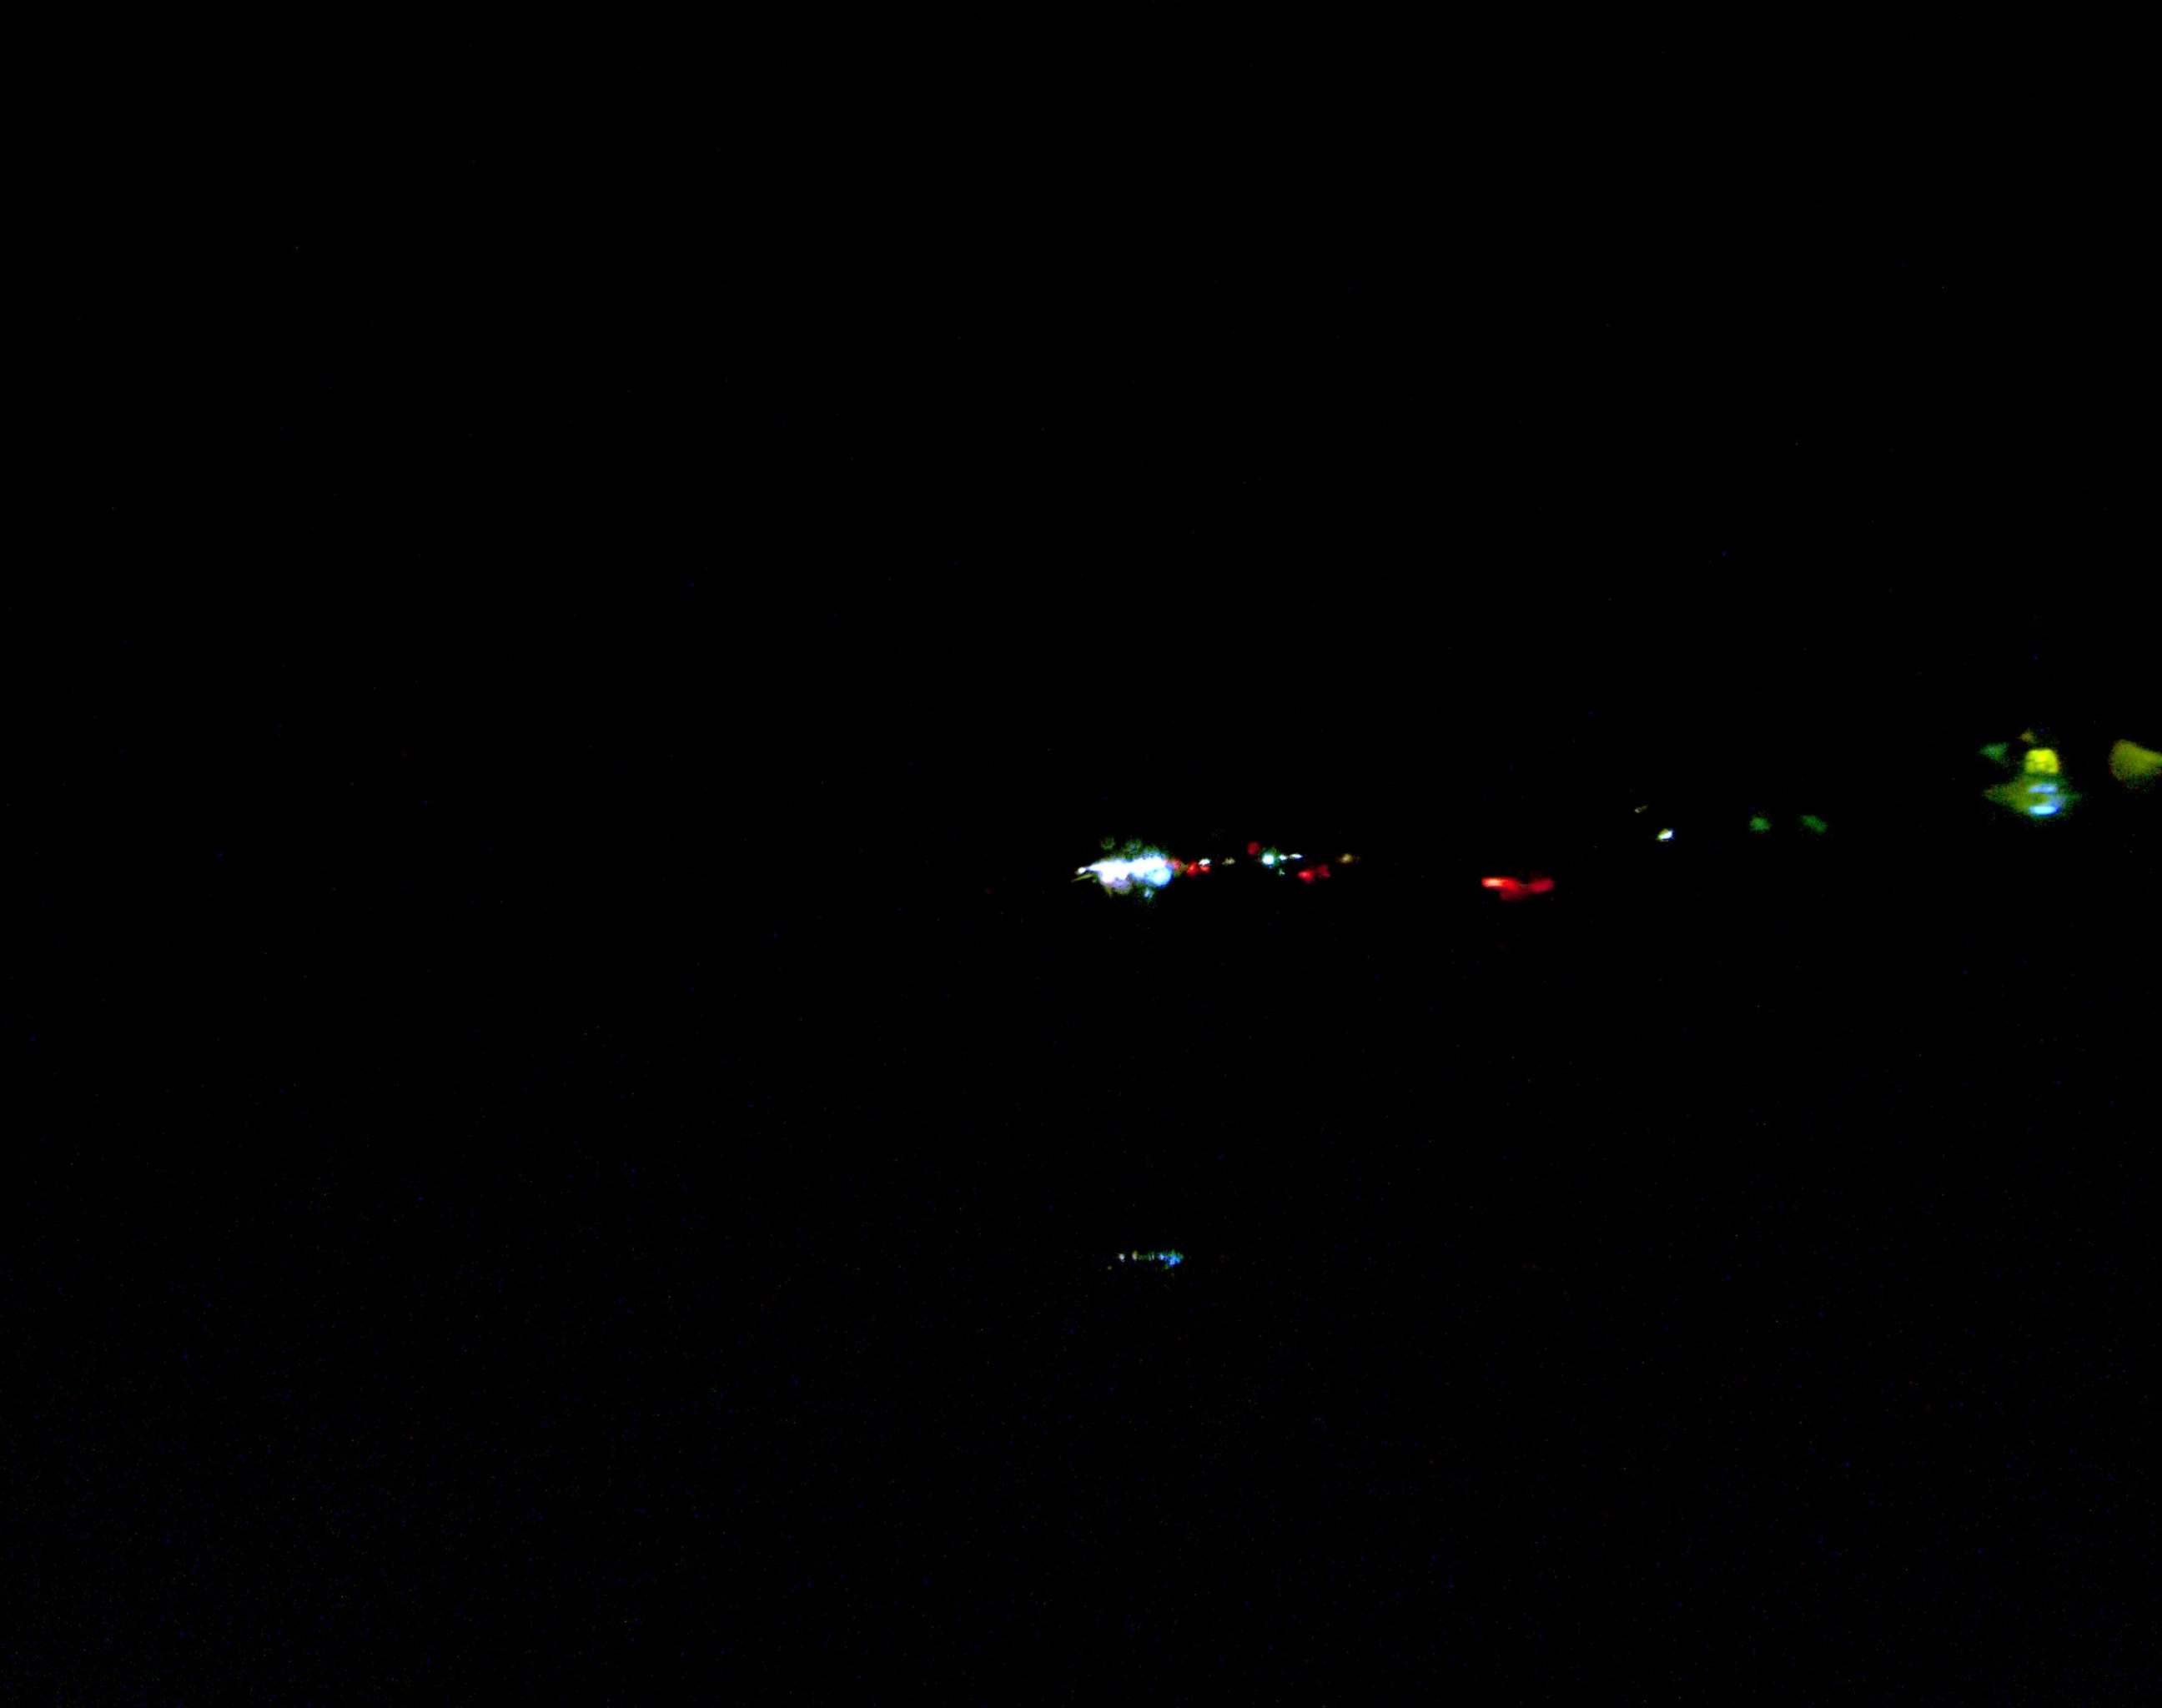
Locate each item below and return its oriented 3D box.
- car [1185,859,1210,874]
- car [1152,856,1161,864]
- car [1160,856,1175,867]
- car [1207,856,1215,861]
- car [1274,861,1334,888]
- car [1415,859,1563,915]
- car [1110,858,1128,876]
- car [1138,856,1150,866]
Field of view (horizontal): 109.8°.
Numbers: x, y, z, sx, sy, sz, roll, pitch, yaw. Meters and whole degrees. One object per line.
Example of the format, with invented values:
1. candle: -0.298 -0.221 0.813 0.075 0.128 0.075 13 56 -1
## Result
1. car: 11.529 1.216 75.292 1.795 1.433 3.855 -1 0 -1
2. car: 16.273 1.251 163.816 1.885 1.591 3.901 -1 0 6
3. car: 11.925 1.073 105.184 1.836 1.433 4.492 -1 0 4
4. car: 40.920 1.432 238.861 1.996 1.652 4.005 -1 0 18
5. car: 12.257 1.105 42.069 1.881 1.389 4.248 0 0 -3
6. car: 12.344 0.928 23.385 1.999 1.499 4.555 -1 0 -2
7. car: 4.421 1.450 88.656 1.998 2.002 4.001 -1 0 4
8. car: 11.103 1.254 134.064 1.998 1.721 4.001 -1 0 5
